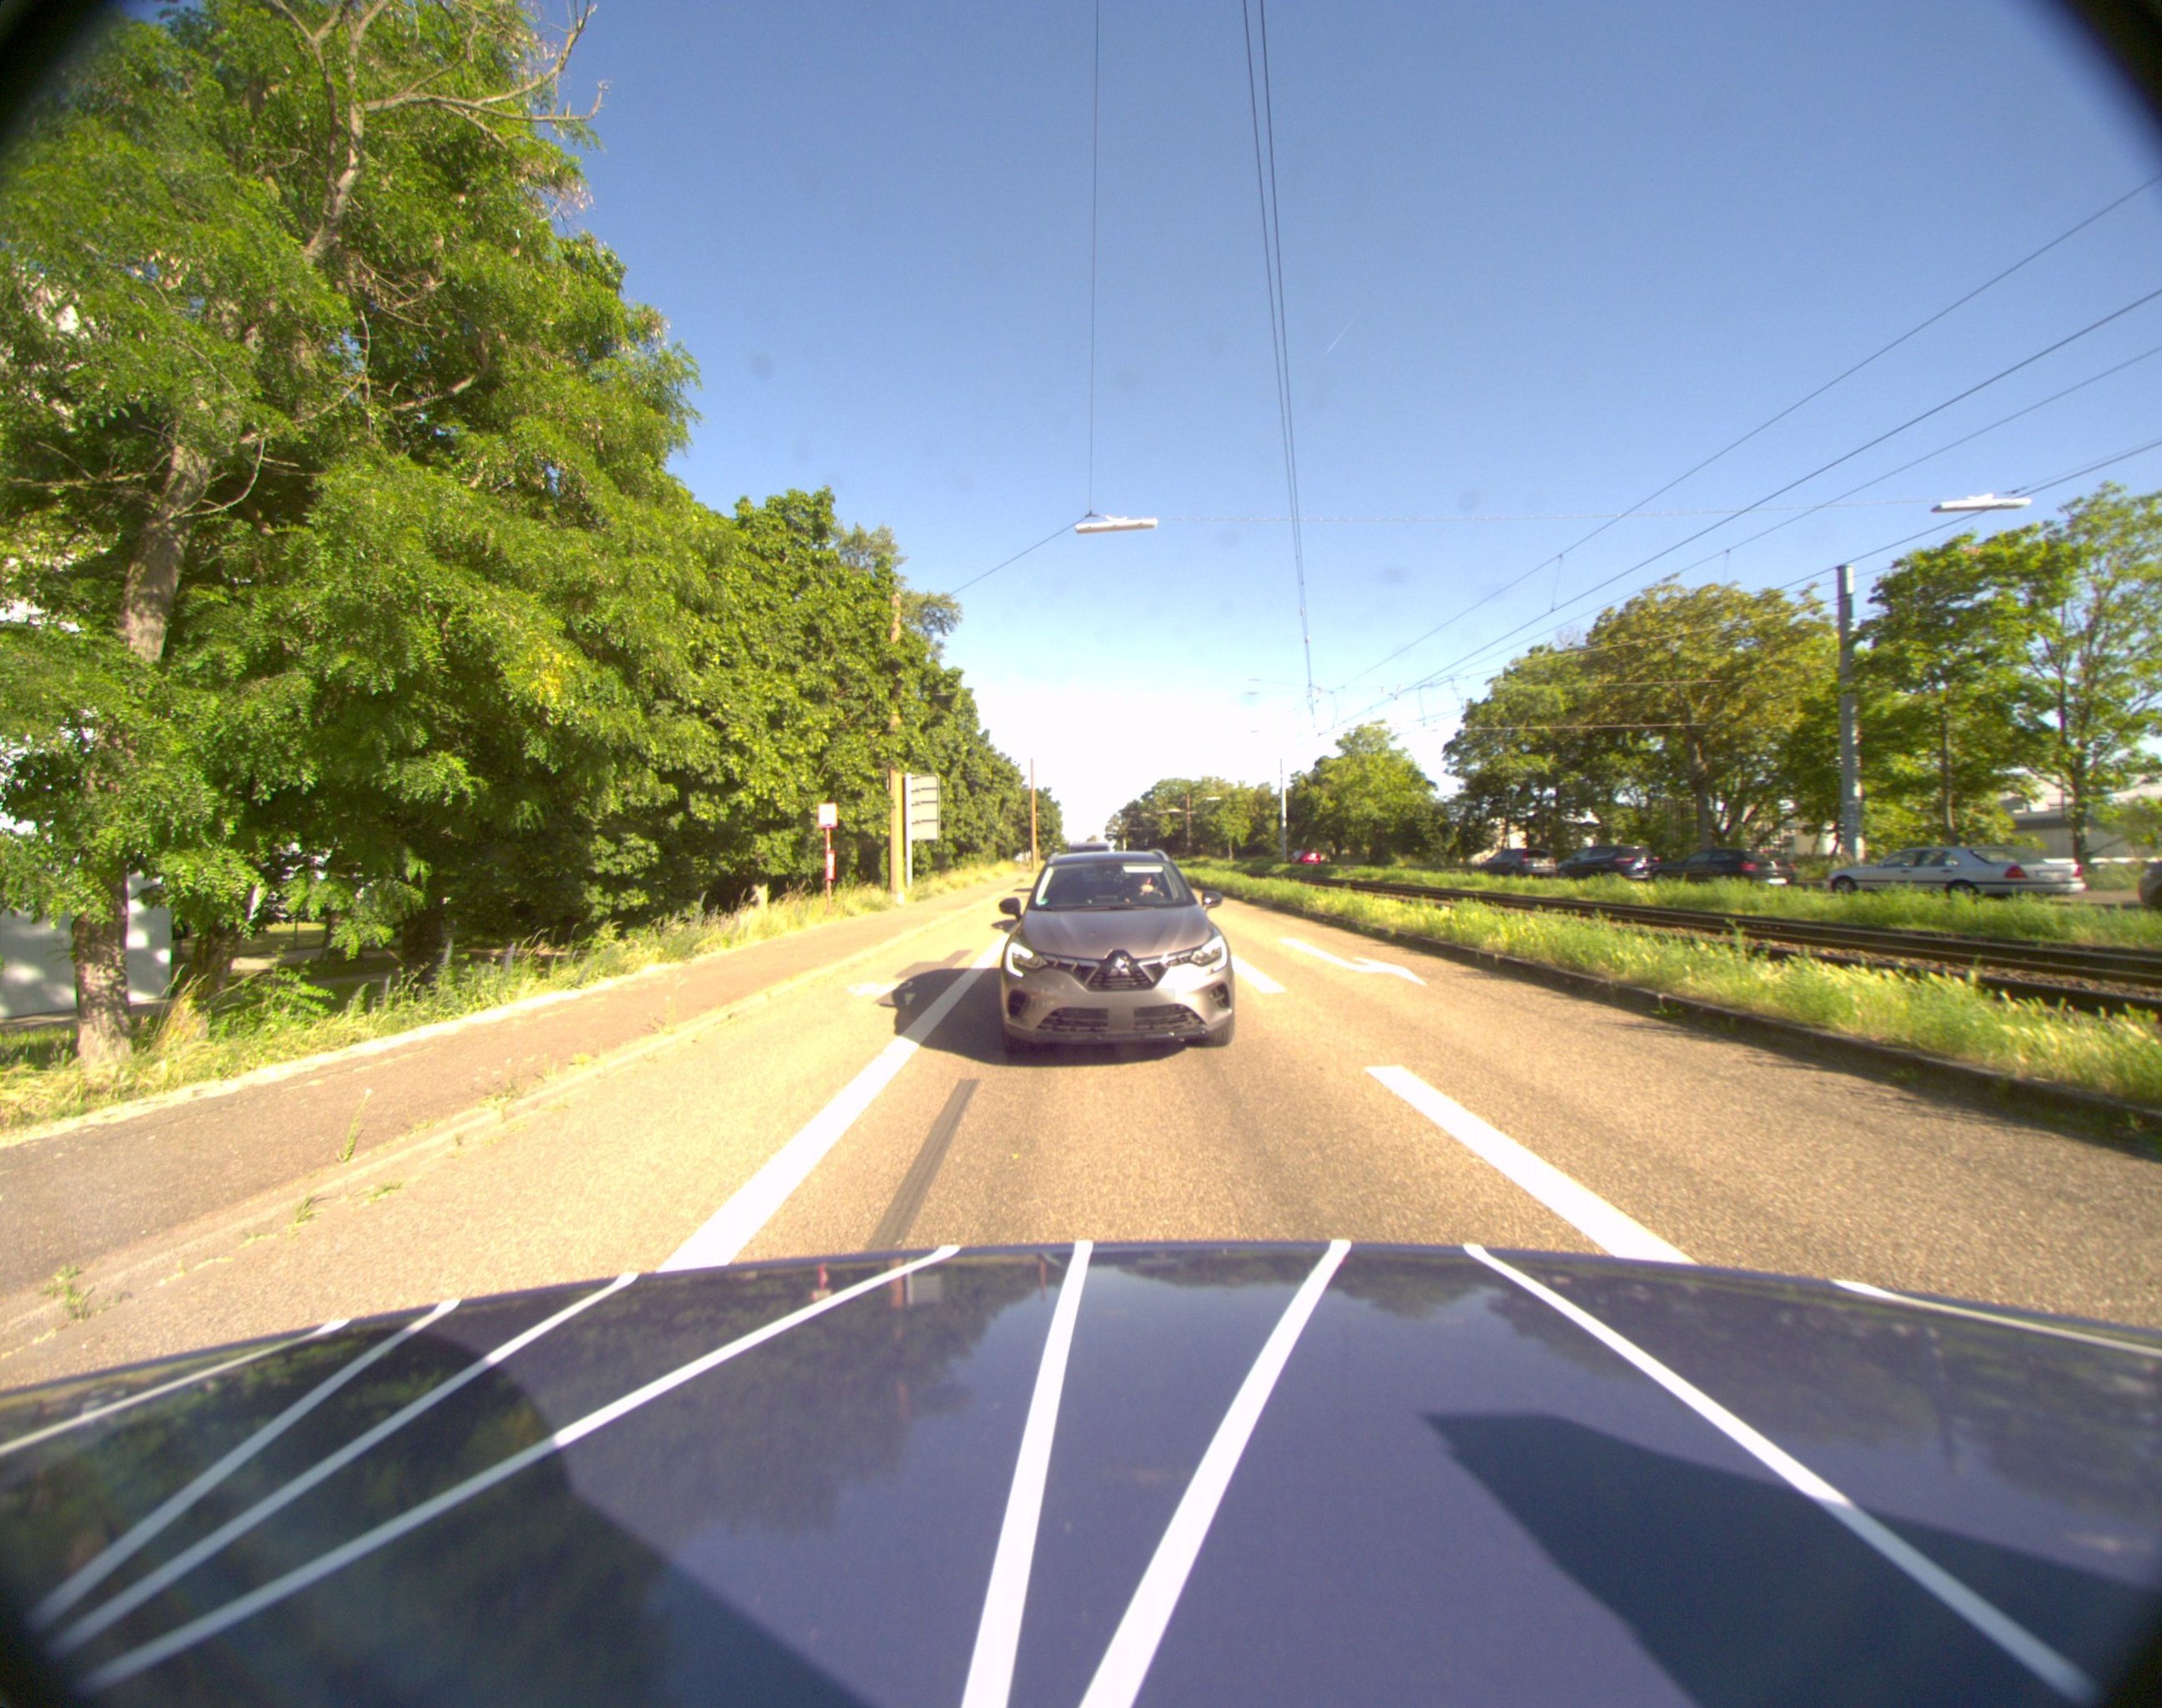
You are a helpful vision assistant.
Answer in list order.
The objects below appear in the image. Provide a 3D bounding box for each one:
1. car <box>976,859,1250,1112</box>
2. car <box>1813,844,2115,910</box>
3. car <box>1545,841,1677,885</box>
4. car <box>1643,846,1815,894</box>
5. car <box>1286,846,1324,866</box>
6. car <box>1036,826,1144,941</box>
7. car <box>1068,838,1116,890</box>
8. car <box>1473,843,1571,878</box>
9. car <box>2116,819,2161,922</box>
[{"bbox_3d":[0.174,0.884,7.309,1.796,1.583,4.529,-1,0,-1],"label":"car"},{"bbox_3d":[21.539,0.508,18.926,2.130,1.372,4.616,-2,0,-1],"label":"car"},{"bbox_3d":[21.300,0.345,30.817,2.130,1.578,4.616,-2,0,1],"label":"car"},{"bbox_3d":[21.339,0.492,25.320,1.960,1.417,4.488,-2,0,1],"label":"car"},{"bbox_3d":[20.994,0.189,71.458,2.321,1.723,4.798,-2,0,3],"label":"car"},{"bbox_3d":[0.195,0.564,16.419,1.998,2.113,4.000,-2,0,1],"label":"car"},{"bbox_3d":[0.423,0.464,34.957,1.999,2.198,4.786,-1,-1,-1],"label":"car"},{"bbox_3d":[21.558,0.329,37.399,2.130,1.554,4.560,-2,0,0],"label":"car"},{"bbox_3d":[21.238,0.279,12.455,2.207,1.923,4.685,-2,0,2],"label":"car"}]
